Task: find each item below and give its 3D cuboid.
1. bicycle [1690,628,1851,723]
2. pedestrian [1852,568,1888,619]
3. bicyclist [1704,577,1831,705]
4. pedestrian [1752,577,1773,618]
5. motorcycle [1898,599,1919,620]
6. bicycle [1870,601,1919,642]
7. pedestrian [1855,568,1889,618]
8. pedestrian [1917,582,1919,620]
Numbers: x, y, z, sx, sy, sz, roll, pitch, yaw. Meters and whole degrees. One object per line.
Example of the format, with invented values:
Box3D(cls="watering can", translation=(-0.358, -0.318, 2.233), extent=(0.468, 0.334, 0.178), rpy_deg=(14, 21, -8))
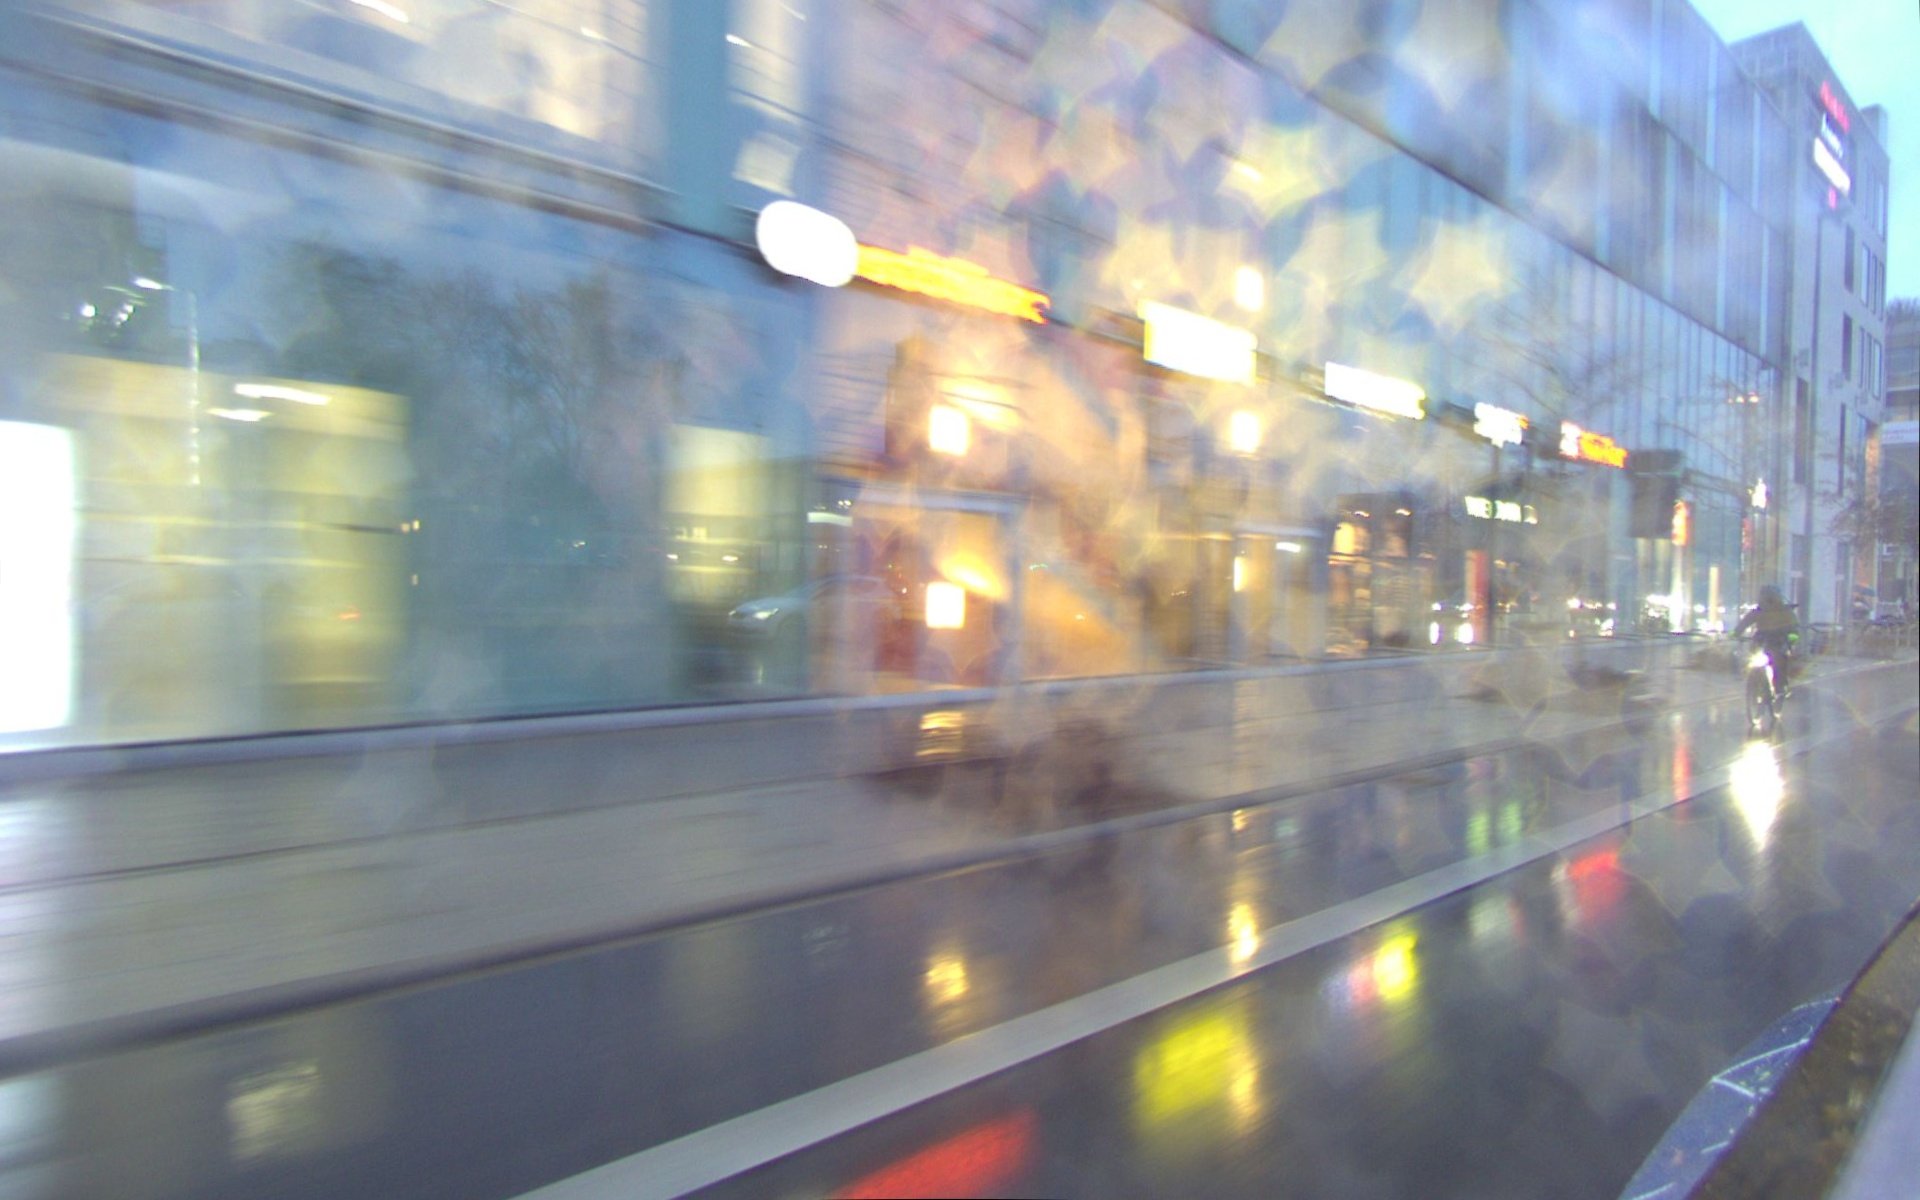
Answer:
Box3D(cls="bicycle", translation=(9.975, 0.881, 12.433), extent=(2.197, 1.012, 0.946), rpy_deg=(0, 0, -34))
Box3D(cls="pedestrian", translation=(39.694, -0.290, 44.131), extent=(0.696, 2.220, 0.963), rpy_deg=(0, 0, -27))
Box3D(cls="bicyclist", translation=(9.905, 0.468, 12.421), extent=(1.046, 1.481, 0.946), rpy_deg=(0, 0, -34))
Box3D(cls="pedestrian", translation=(36.552, -0.120, 46.080), extent=(0.612, 1.828, 0.616), rpy_deg=(1, -1, -38))
Box3D(cls="motorcycle", translation=(41.703, 0.418, 43.753), extent=(0.387, 0.901, 1.636), rpy_deg=(1, 0, -37))
Box3D(cls="bicycle", translation=(29.181, 0.655, 30.936), extent=(0.655, 1.189, 1.908), rpy_deg=(0, 2, -39))
Box3D(cls="pedestrian", translation=(40.183, -0.307, 44.578), extent=(0.569, 2.189, 0.969), rpy_deg=(0, 0, -27))
Box3D(cls="pedestrian", translation=(42.046, 0.052, 43.862), extent=(0.492, 1.628, 0.779), rpy_deg=(1, -1, -38))
